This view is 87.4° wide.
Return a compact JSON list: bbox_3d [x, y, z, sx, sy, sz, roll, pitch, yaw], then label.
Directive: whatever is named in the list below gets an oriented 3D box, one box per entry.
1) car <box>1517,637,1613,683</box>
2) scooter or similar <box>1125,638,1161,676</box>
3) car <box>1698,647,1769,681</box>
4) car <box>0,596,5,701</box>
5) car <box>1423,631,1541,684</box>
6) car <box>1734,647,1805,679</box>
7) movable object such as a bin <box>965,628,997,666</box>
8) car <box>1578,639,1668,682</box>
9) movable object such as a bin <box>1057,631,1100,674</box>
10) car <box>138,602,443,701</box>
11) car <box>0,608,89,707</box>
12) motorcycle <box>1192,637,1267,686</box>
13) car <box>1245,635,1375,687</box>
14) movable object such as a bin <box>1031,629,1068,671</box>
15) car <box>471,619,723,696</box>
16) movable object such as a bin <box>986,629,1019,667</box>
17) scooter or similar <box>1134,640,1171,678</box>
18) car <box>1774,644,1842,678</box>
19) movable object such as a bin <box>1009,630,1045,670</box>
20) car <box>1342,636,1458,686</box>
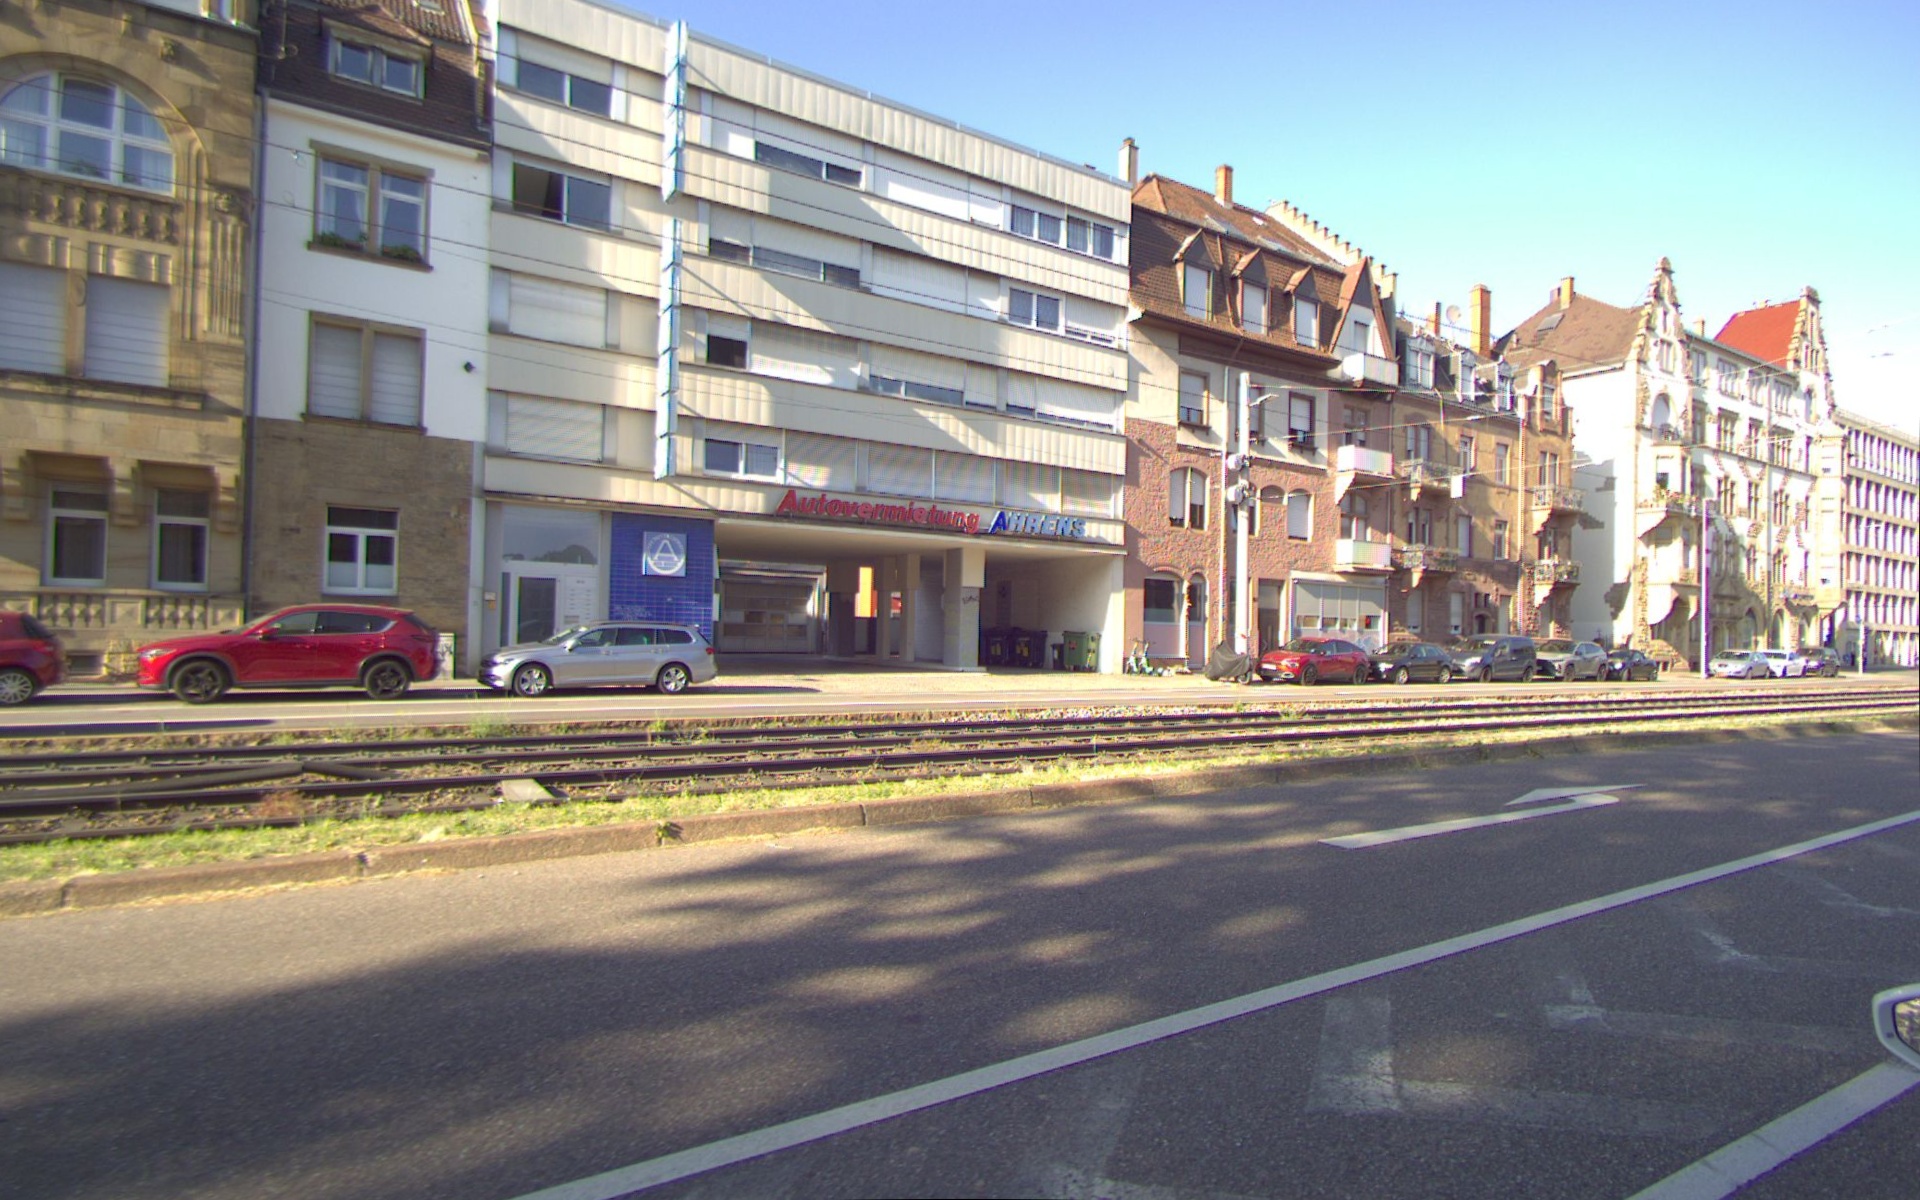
[{"bbox_3d":[24.909,2.454,41.319,4.154,1.674,1.677,2,1,-33],"label":"car"},{"bbox_3d":[6.112,1.911,33.521,1.187,1.221,0.389,3,1,-32],"label":"scooter or similar"},{"bbox_3d":[39.170,3.204,50.821,3.963,1.530,1.781,2,1,-37],"label":"car"},{"bbox_3d":[-13.043,0.666,10.521,4.117,1.622,1.625,2,-3,-34],"label":"car"},{"bbox_3d":[19.785,2.183,38.024,4.402,1.777,1.786,2,1,-30],"label":"car"},{"bbox_3d":[43.509,3.379,53.965,4.141,1.530,1.783,2,1,-34],"label":"car"},{"bbox_3d":[0.805,1.800,38.592,0.628,1.389,1.260,2,-2,-32],"label":"movable object such as a bin"},{"bbox_3d":[29.108,2.656,44.049,4.154,1.674,1.677,2,1,-33],"label":"car"},{"bbox_3d":[4.001,1.764,33.929,0.630,1.389,1.400,2,-1,-38],"label":"movable object such as a bin"},{"bbox_3d":[-11.790,0.920,18.031,4.304,1.579,1.824,3,-1,-31],"label":"car"},{"bbox_3d":[-16.042,0.837,15.308,3.999,1.409,1.820,3,1,-37],"label":"car"},{"bbox_3d":[8.379,1.893,31.308,2.045,1.344,0.836,4,1,43],"label":"motorcycle"},{"bbox_3d":[11.472,1.980,32.873,4.221,1.479,1.783,2,1,-33],"label":"car"},{"bbox_3d":[3.131,1.736,35.138,0.630,1.389,1.184,2,-1,-38],"label":"movable object such as a bin"},{"bbox_3d":[-7.479,1.177,20.867,4.632,1.409,1.823,3,-2,-33],"label":"car"},{"bbox_3d":[1.579,1.789,37.373,0.628,1.389,1.260,2,-2,-32],"label":"movable object such as a bin"},{"bbox_3d":[6.340,1.937,33.002,1.187,1.221,0.389,3,1,-32],"label":"scooter or similar"},{"bbox_3d":[48.178,3.470,57.043,4.141,1.742,1.783,2,1,-34],"label":"car"},{"bbox_3d":[2.412,1.796,36.326,0.629,1.389,1.258,2,-2,-35],"label":"movable object such as a bin"},{"bbox_3d":[15.521,2.144,35.377,3.957,1.530,1.784,2,1,-33],"label":"car"}]
